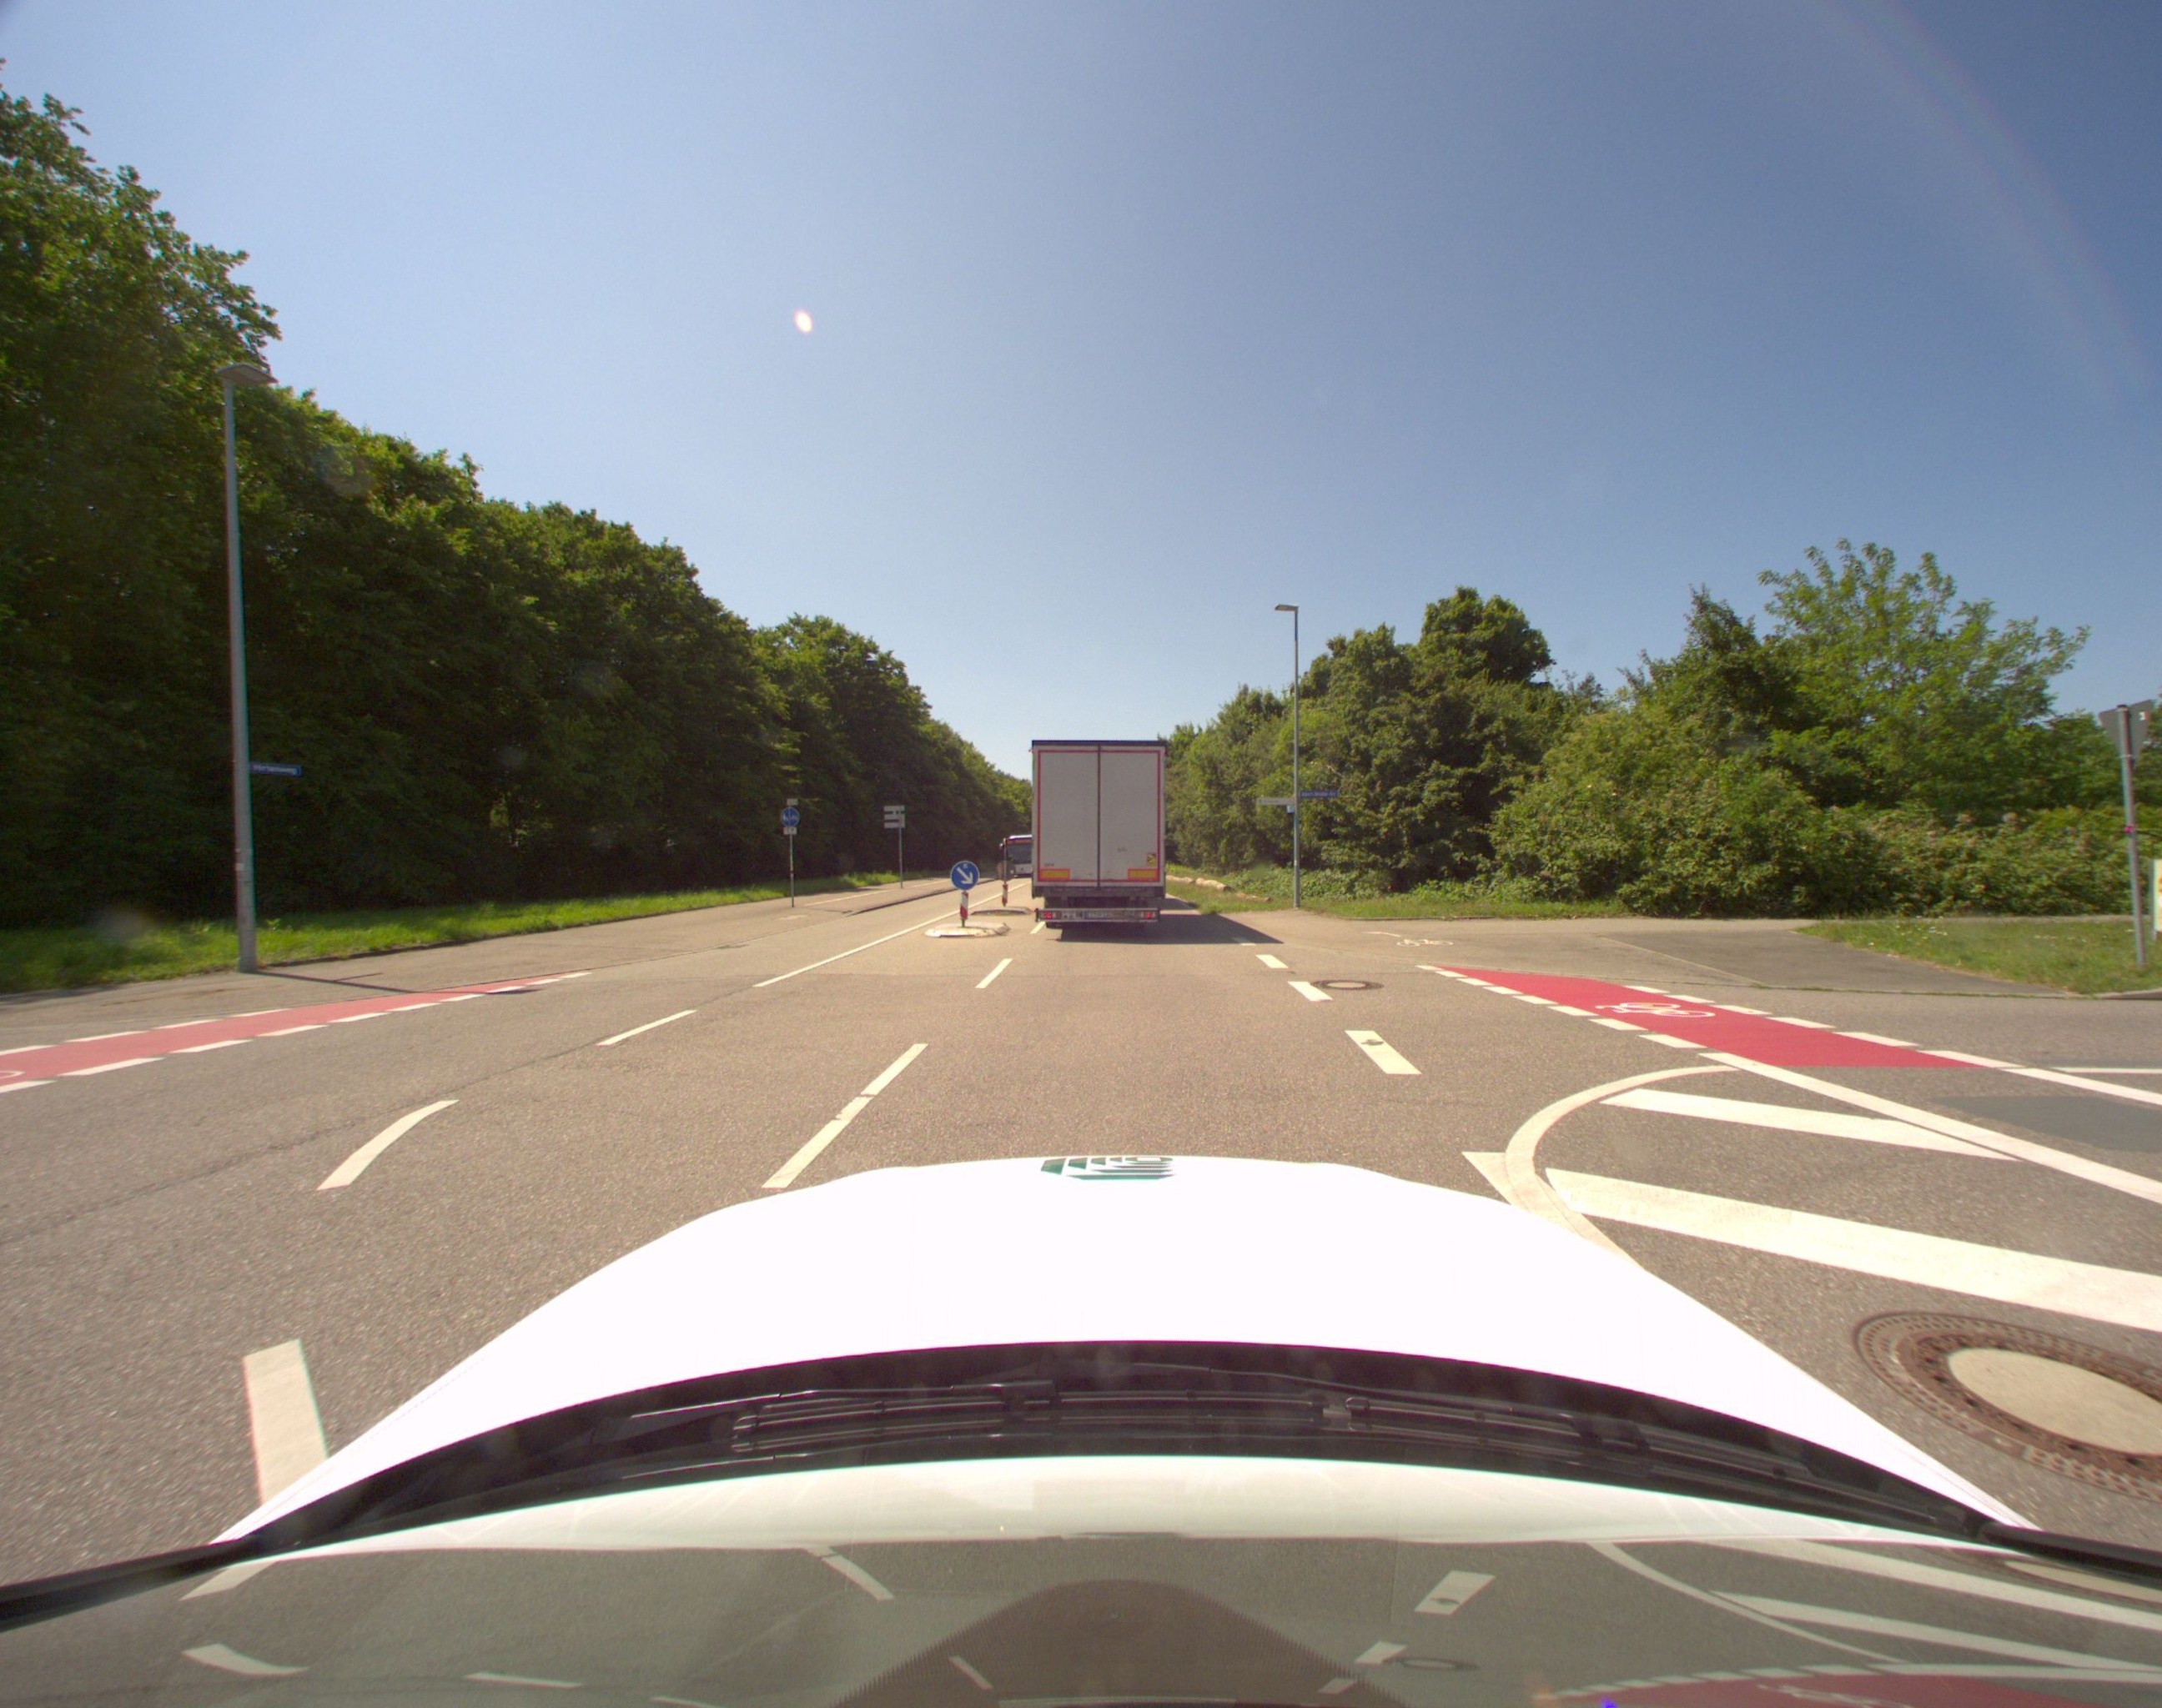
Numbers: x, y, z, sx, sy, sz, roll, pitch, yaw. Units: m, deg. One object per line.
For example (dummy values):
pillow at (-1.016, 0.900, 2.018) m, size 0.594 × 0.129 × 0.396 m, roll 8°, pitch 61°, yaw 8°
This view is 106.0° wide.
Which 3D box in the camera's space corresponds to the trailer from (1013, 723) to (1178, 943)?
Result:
trailer at (0.227, -0.385, 20.036) m, size 3.068 × 4.070 × 9.805 m, roll 0°, pitch 0°, yaw -1°

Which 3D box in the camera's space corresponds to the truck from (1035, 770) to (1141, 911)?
truck at (0.145, -0.396, 27.546) m, size 3.068 × 4.070 × 7.955 m, roll 0°, pitch 0°, yaw -1°

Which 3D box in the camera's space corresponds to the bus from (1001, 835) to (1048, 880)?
bus at (-4.271, 0.272, 63.915) m, size 2.741 × 3.045 × 11.936 m, roll -3°, pitch 0°, yaw 0°
